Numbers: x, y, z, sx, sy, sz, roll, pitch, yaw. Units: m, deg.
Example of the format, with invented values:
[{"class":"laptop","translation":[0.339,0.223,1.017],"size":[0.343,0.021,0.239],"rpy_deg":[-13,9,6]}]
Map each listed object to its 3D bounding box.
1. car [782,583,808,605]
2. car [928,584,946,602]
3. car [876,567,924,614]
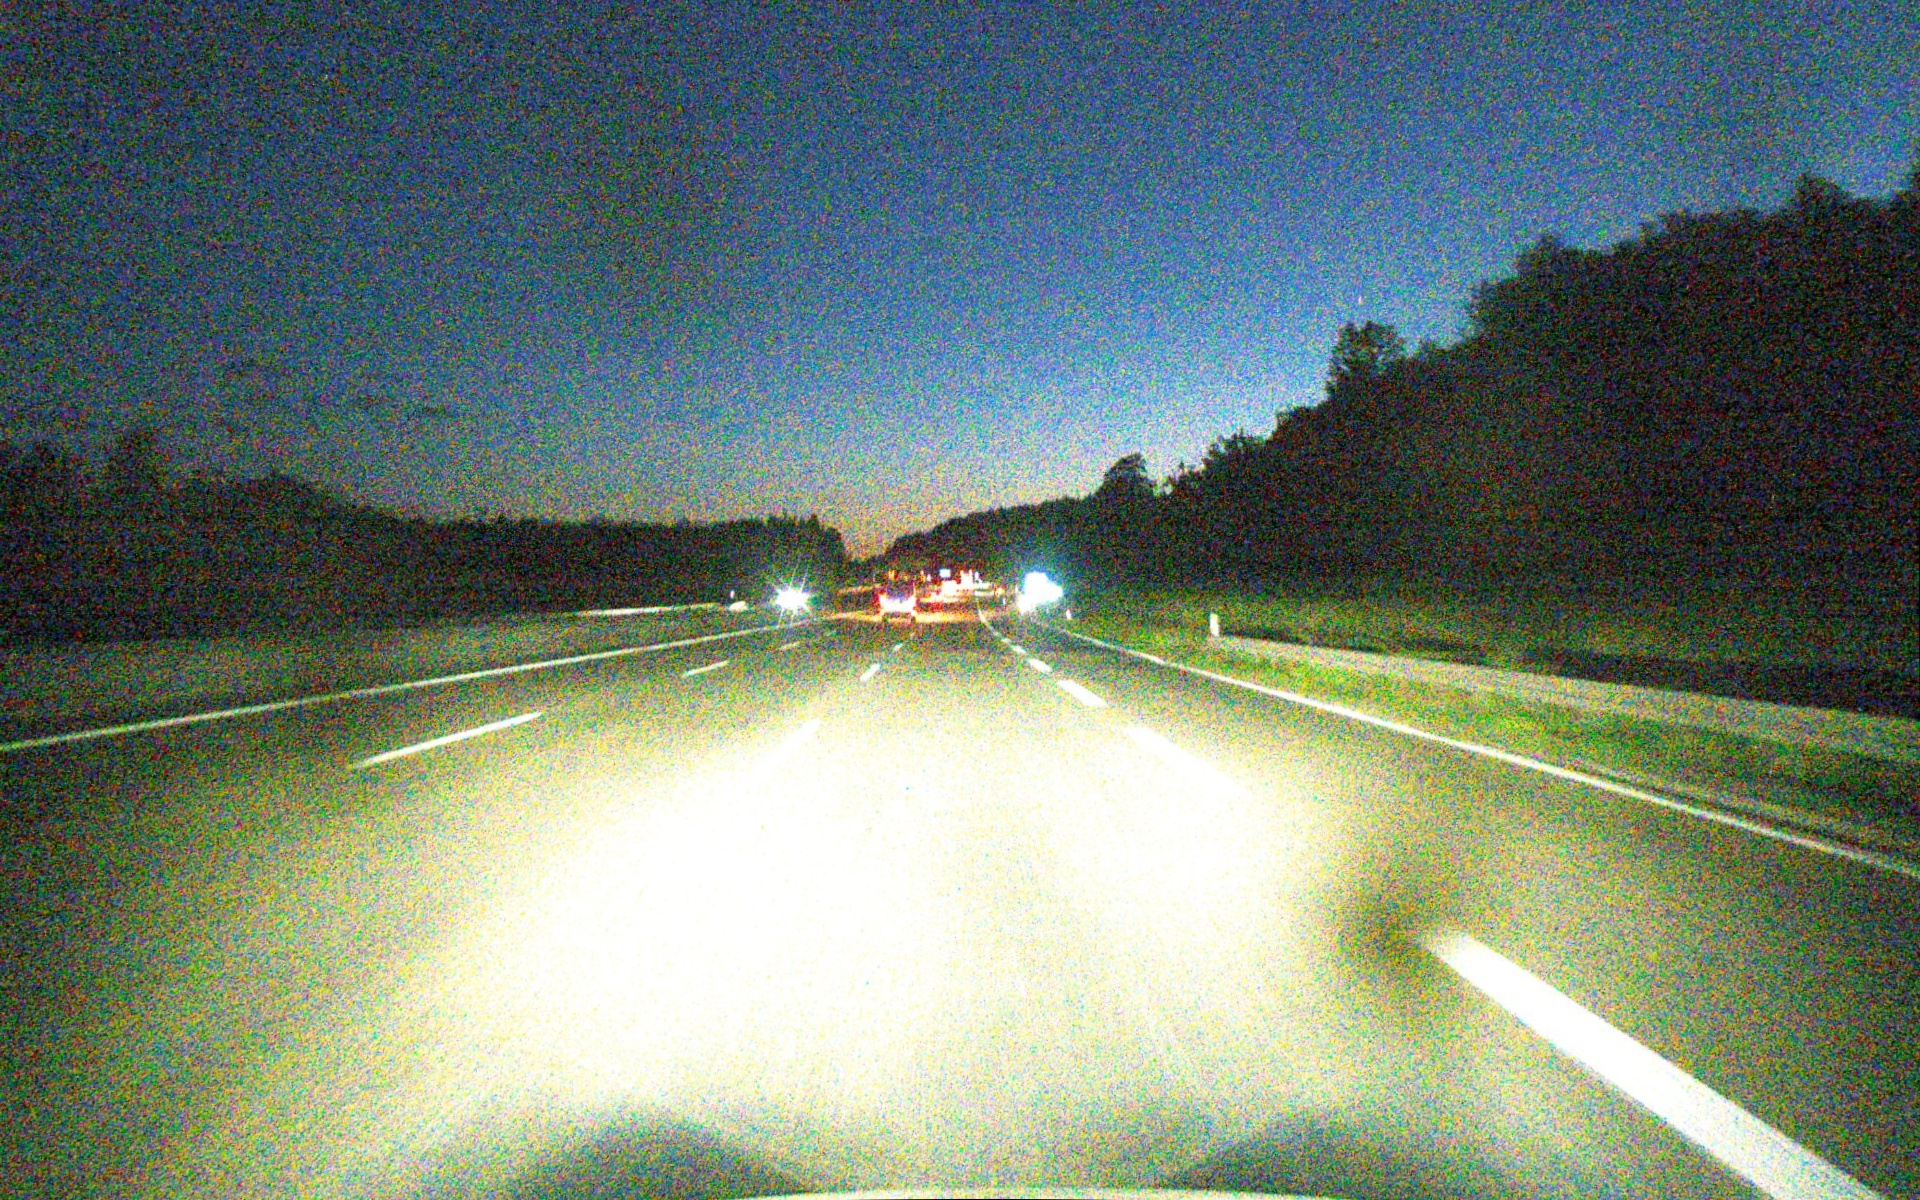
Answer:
[{"class":"car","translation":[-22.114,-0.808,221.568],"size":[2.788,2.989,6.601],"rpy_deg":[0,0,0]},{"class":"car","translation":[-3.662,-1.072,257.588],"size":[2.730,2.781,6.297],"rpy_deg":[0,-1,-1]},{"class":"car","translation":[-3.650,-0.528,101.465],"size":[2.729,2.781,6.298],"rpy_deg":[0,-1,0]}]
